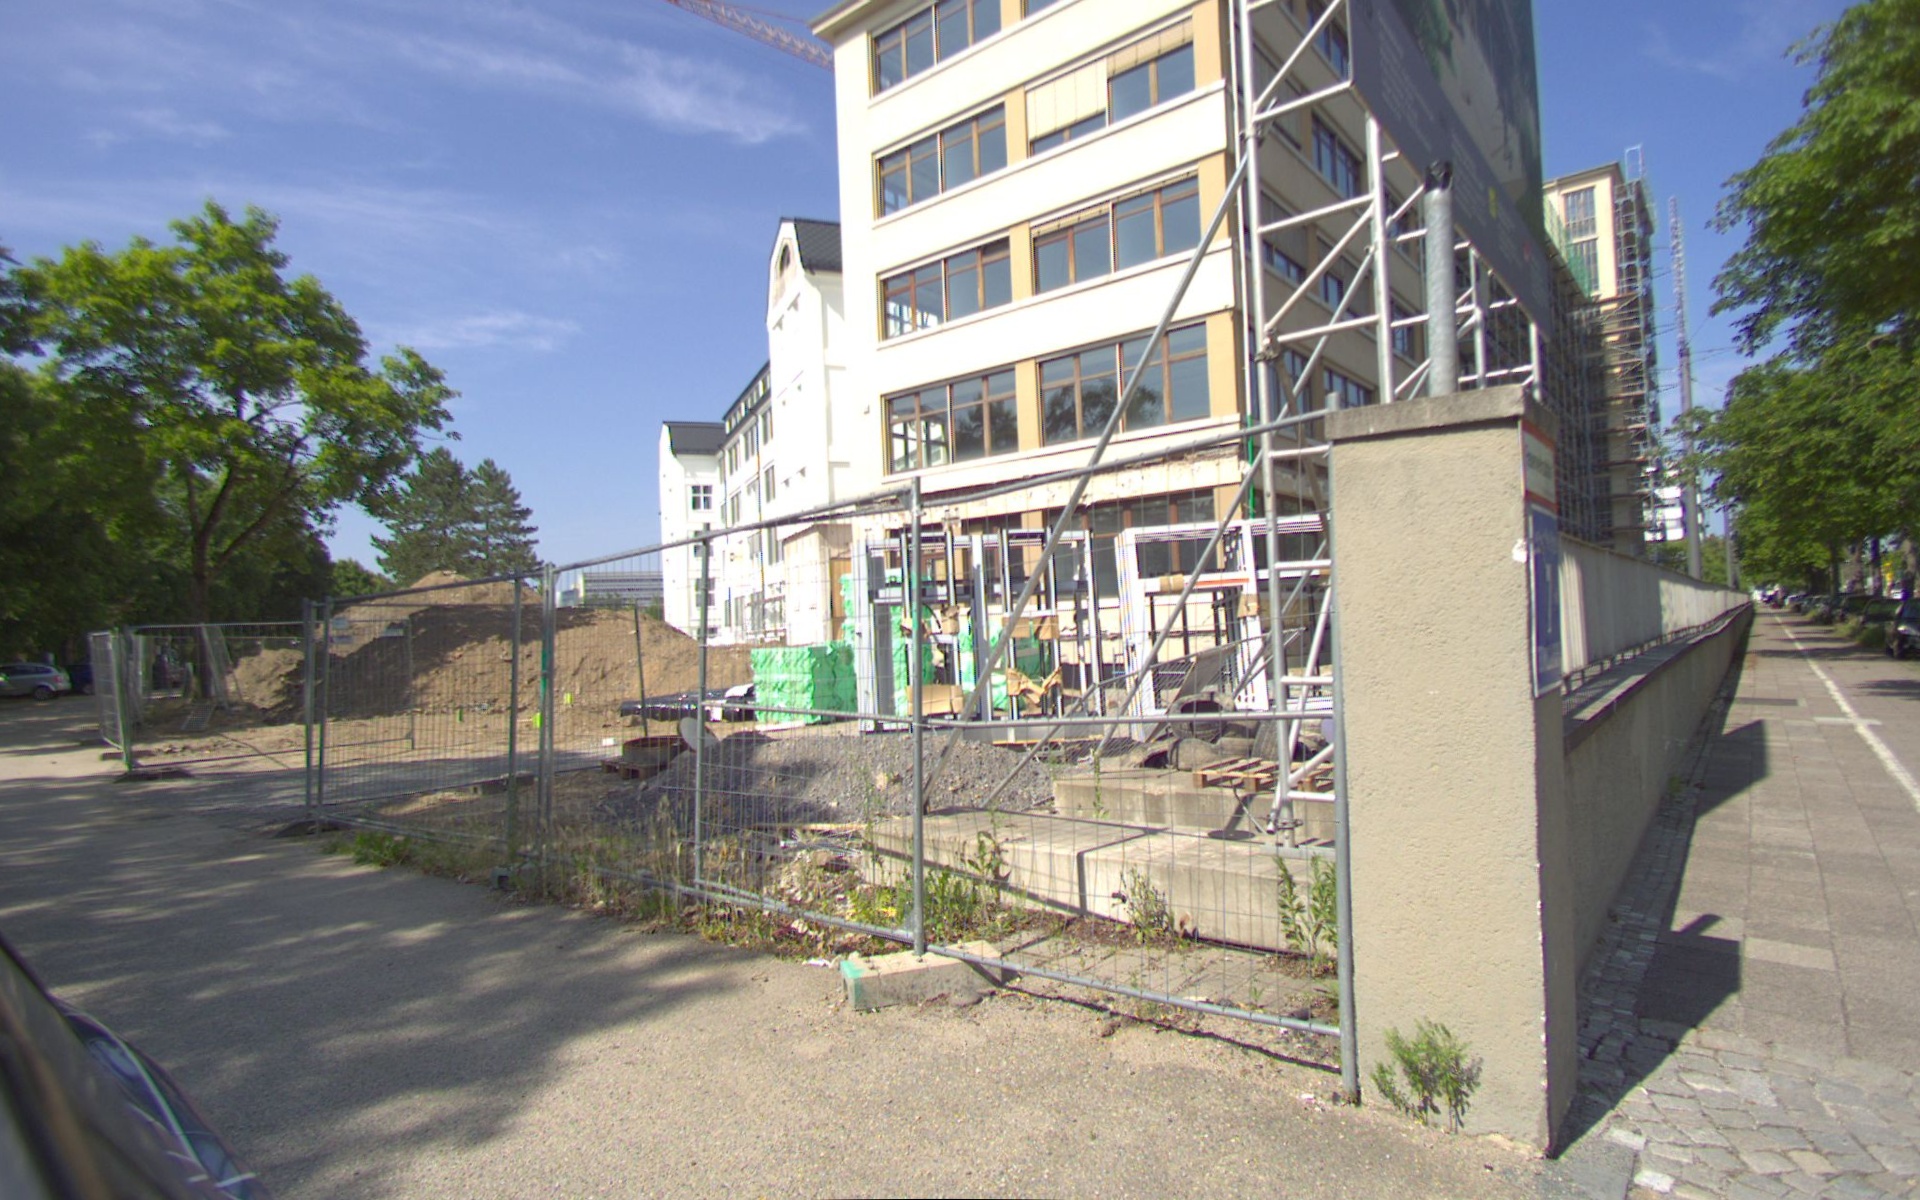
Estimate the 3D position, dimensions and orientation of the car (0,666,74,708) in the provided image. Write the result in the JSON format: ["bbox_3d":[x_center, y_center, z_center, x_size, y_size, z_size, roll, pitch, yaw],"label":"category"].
[{"bbox_3d":[-38.237,3.503,40.459,3.932,1.519,2.006,-1,-2,-31],"label":"car"}]

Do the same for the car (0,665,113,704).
[{"bbox_3d":[-40.659,3.759,45.282,3.932,1.453,2.006,-1,-2,-31],"label":"car"}]

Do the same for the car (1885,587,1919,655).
[{"bbox_3d":[22.677,0.421,23.169,1.819,1.464,3.949,-4,-2,38],"label":"car"}]
